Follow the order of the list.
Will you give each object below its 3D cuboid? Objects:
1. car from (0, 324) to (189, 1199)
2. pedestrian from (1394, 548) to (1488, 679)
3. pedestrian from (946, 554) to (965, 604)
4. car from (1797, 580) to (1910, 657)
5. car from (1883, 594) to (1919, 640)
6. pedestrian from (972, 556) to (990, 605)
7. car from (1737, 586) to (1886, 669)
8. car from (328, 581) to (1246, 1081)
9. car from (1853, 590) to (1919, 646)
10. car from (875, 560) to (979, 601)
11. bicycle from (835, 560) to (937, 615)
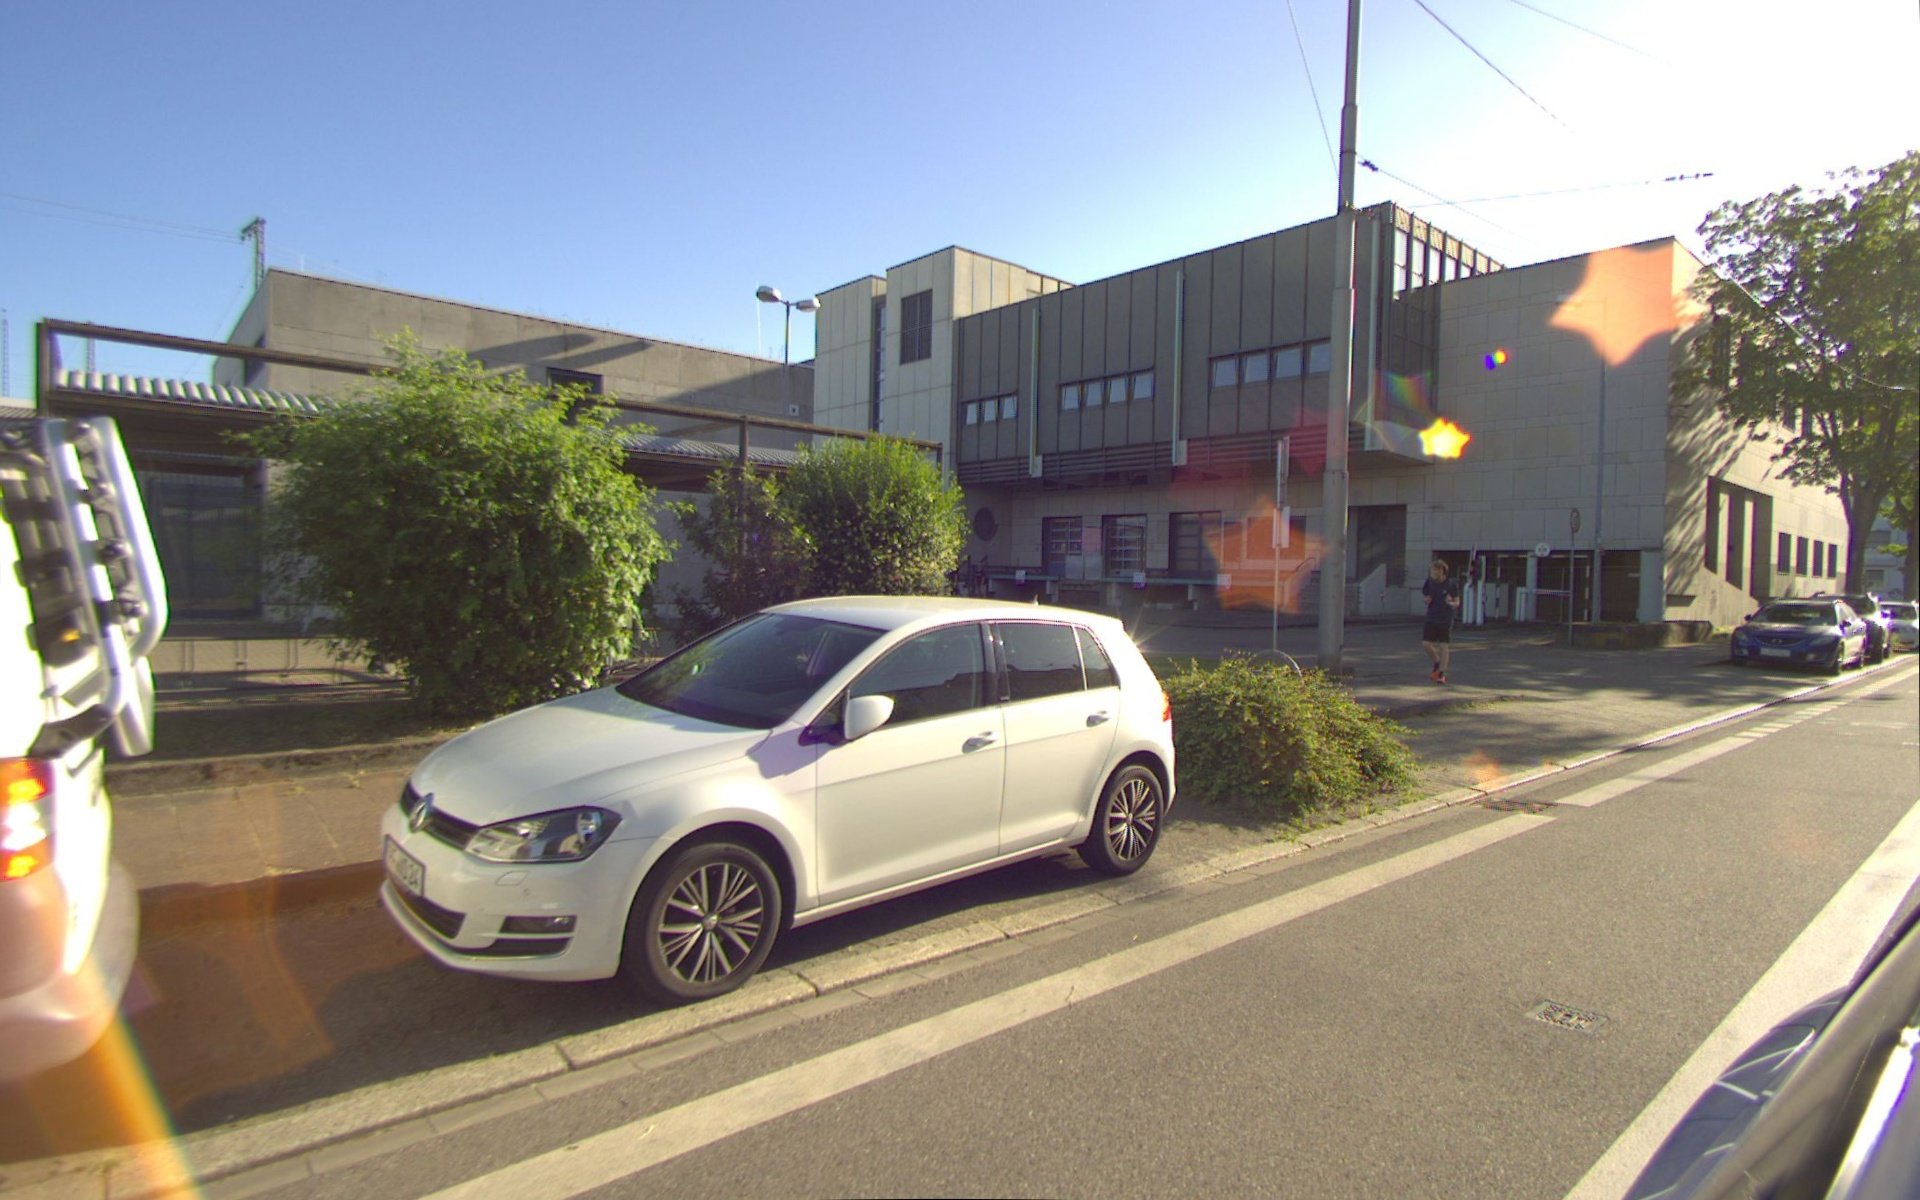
[{"bbox_3d":[-4.453,0.380,1.565,5.148,2.016,1.859,-1,2,-39],"label":"car"},{"bbox_3d":[7.150,0.175,15.019,1.281,1.810,0.672,0,6,-41],"label":"pedestrian"},{"bbox_3d":[-0.175,-0.773,36.963,0.502,1.803,0.481,0,1,-39],"label":"pedestrian"},{"bbox_3d":[22.294,0.387,25.200,4.207,1.733,1.743,-1,2,-44],"label":"car"},{"bbox_3d":[32.792,0.569,34.300,4.253,1.425,1.712,-1,4,-41],"label":"car"},{"bbox_3d":[0.777,-0.739,37.592,0.502,1.803,0.481,0,1,-39],"label":"pedestrian"},{"bbox_3d":[18.336,0.503,21.709,4.578,1.499,1.706,-1,5,-41],"label":"car"},{"bbox_3d":[-0.495,0.664,5.176,4.427,1.435,1.678,-1,4,-43],"label":"car"},{"bbox_3d":[28.058,0.509,30.058,4.543,1.508,1.716,1,2,-41],"label":"car"},{"bbox_3d":[-1.330,-0.751,39.155,1.869,1.492,4.081,-1,1,-41],"label":"car"},{"bbox_3d":[-1.483,-0.265,20.493,1.973,1.084,0.753,0,1,4],"label":"bicycle"}]
